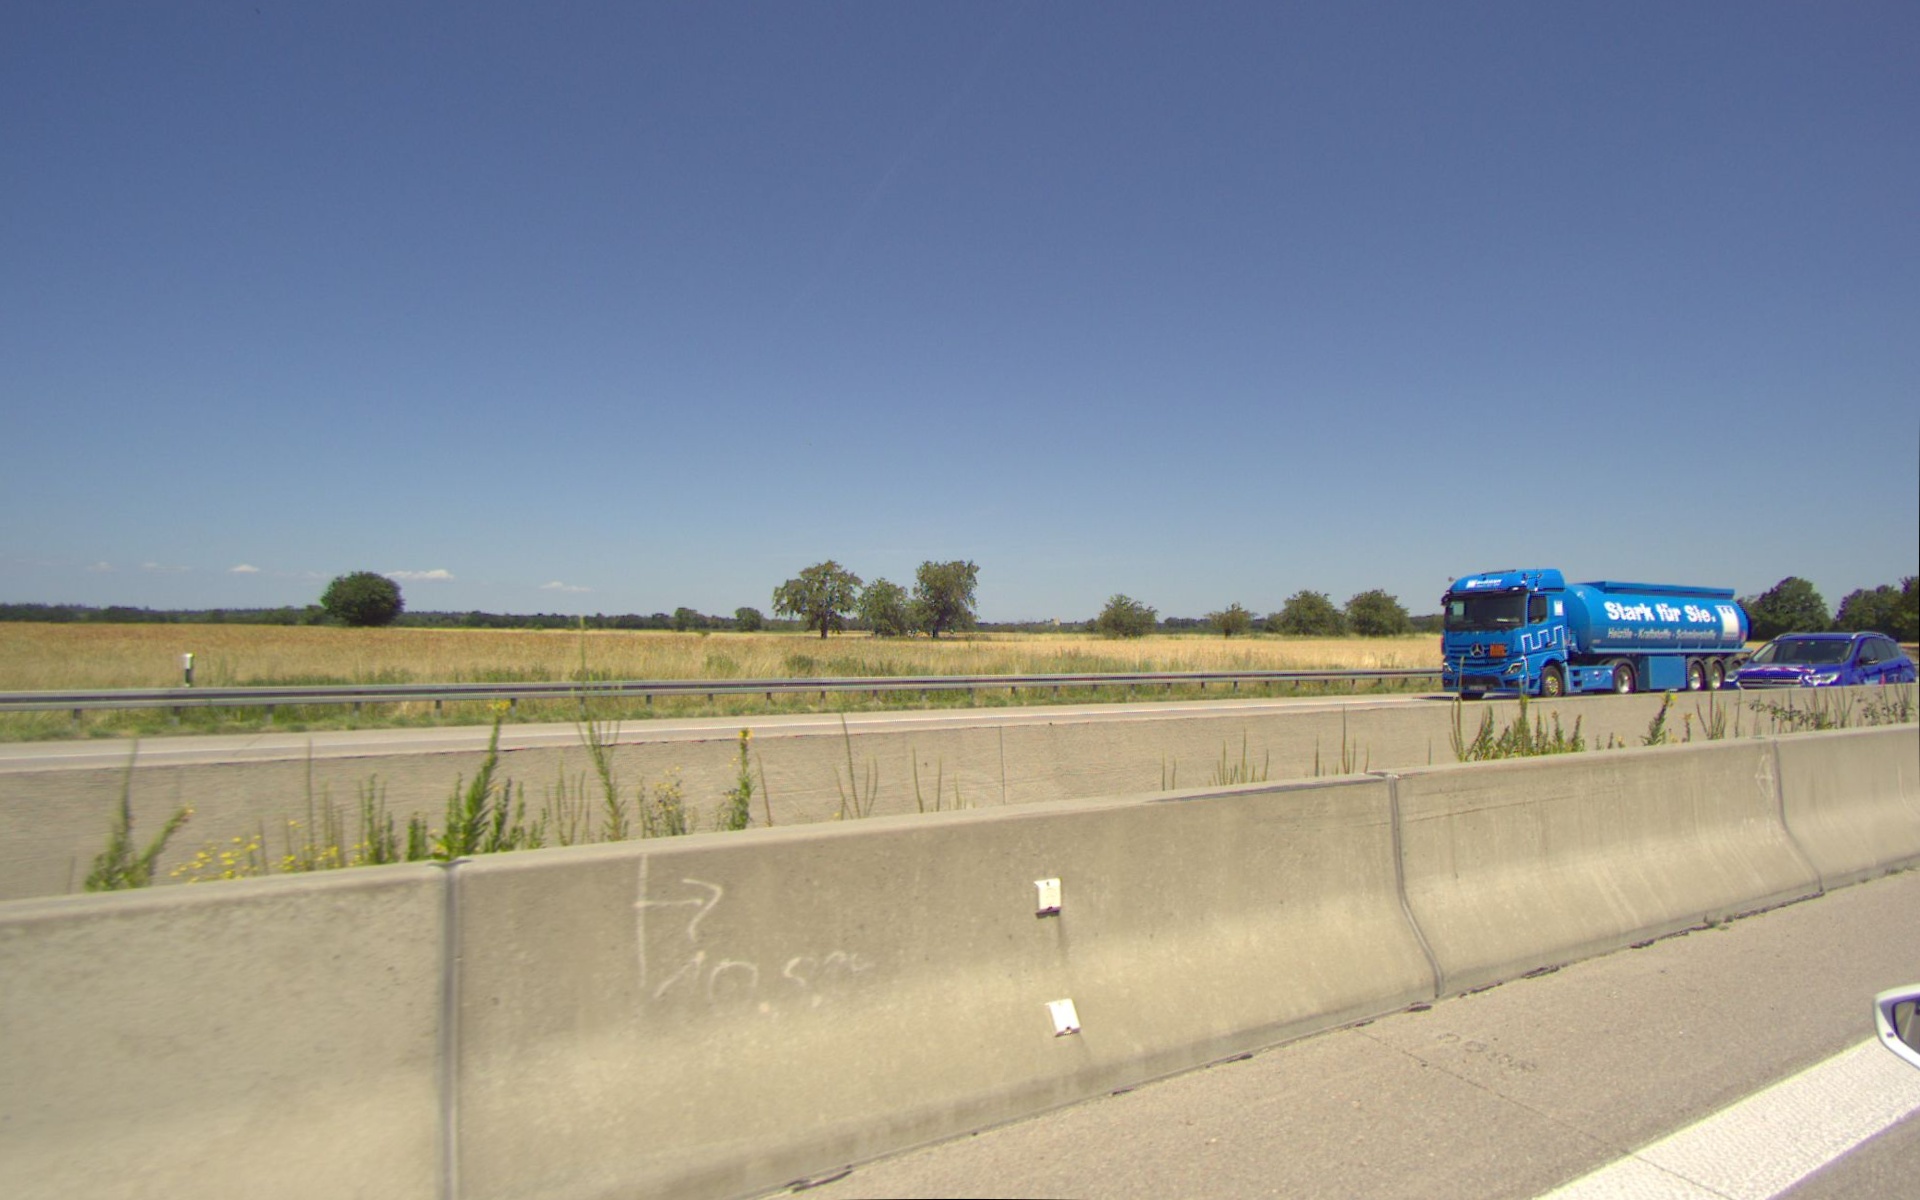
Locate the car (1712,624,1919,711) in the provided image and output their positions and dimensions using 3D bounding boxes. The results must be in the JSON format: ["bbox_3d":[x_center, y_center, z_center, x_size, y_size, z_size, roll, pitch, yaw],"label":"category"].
[{"bbox_3d":[16.068,1.191,18.710,4.403,1.366,1.769,1,1,-32],"label":"car"}]

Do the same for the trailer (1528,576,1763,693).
[{"bbox_3d":[21.785,1.053,31.718,9.147,3.316,2.502,1,0,-31],"label":"trailer"}]

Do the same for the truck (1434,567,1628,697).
[{"bbox_3d":[16.102,0.862,28.295,5.203,3.354,2.471,1,0,-31],"label":"truck"}]
